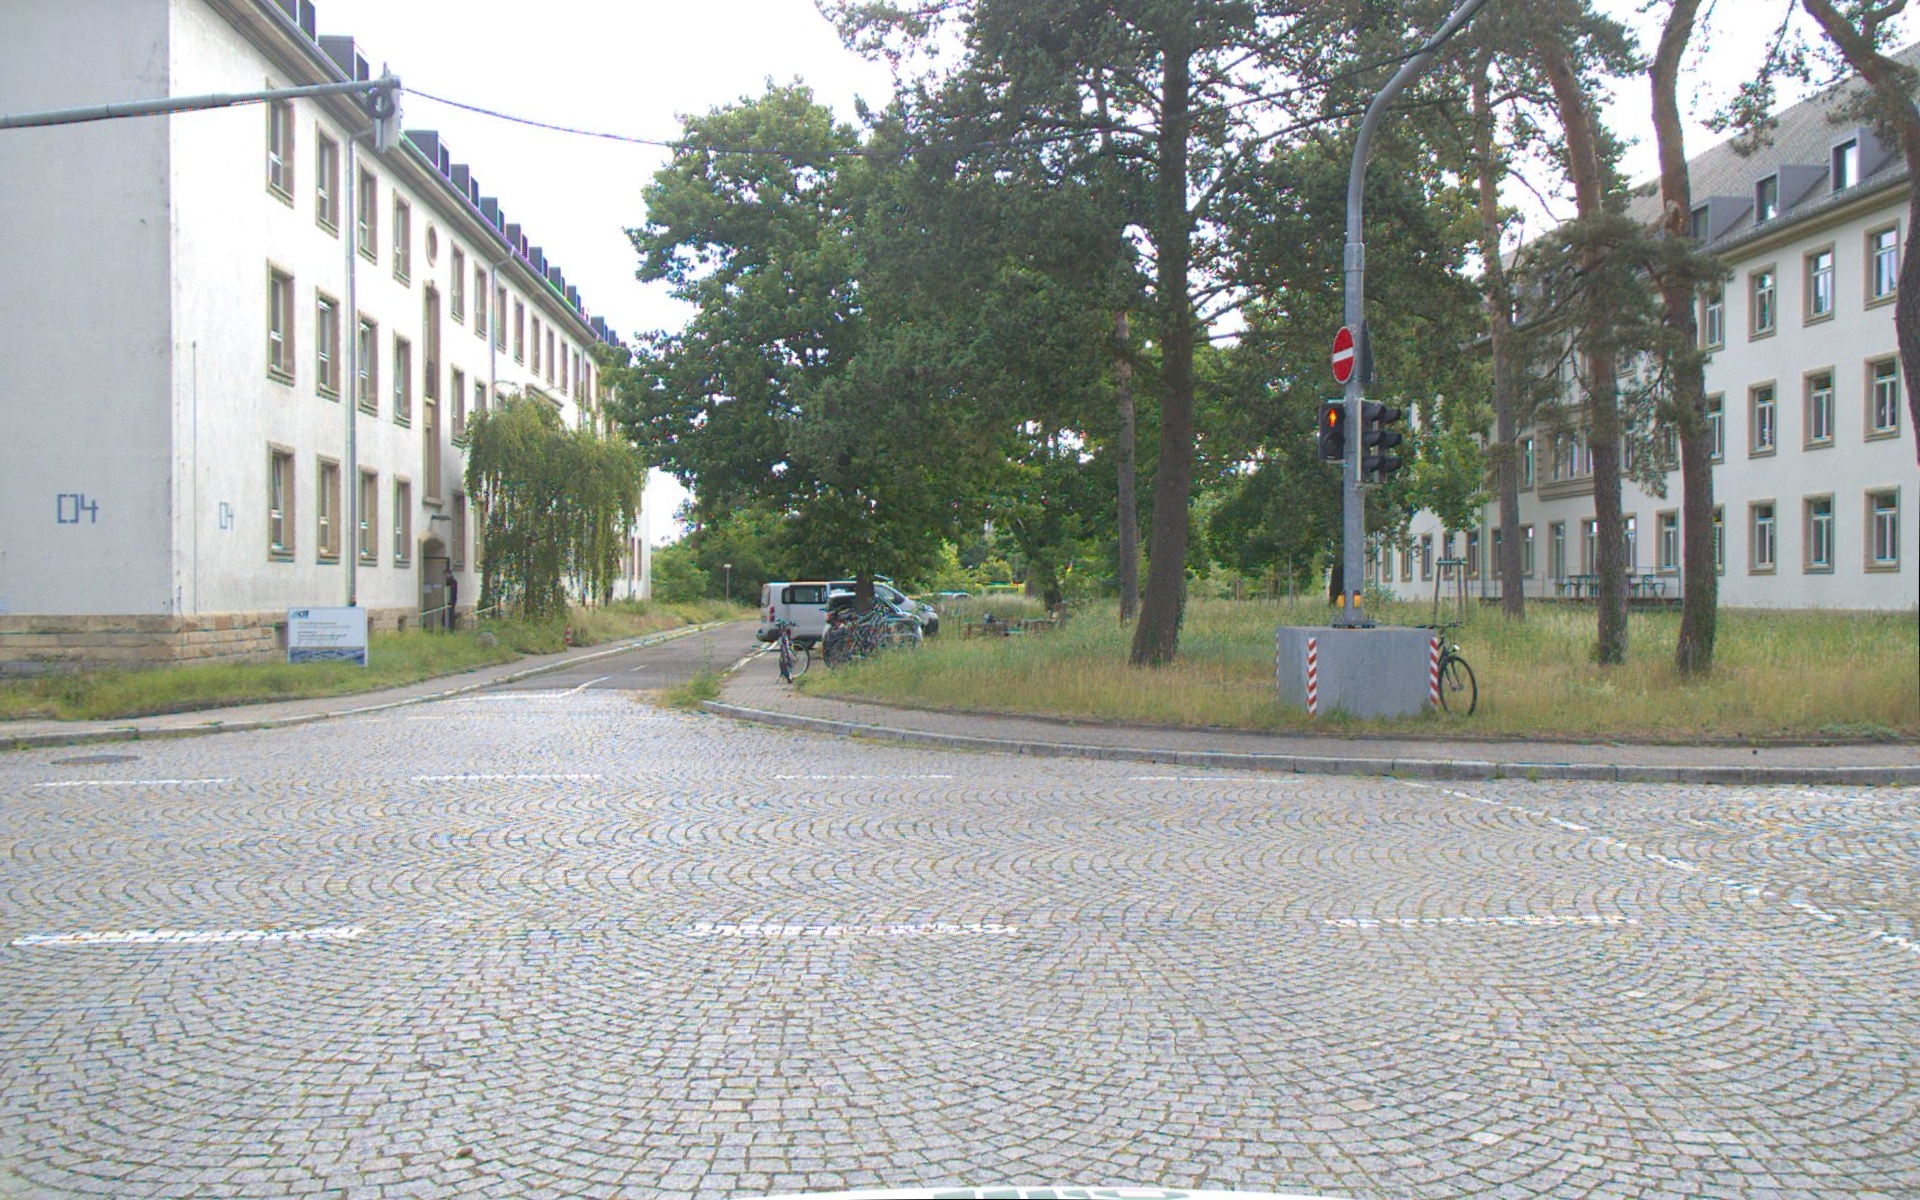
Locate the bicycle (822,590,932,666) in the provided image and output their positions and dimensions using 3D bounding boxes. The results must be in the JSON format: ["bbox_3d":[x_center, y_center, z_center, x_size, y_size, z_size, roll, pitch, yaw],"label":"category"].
[{"bbox_3d":[-1.540,0.517,30.826,2.028,1.402,0.619,0,0,-3],"label":"bicycle"}]

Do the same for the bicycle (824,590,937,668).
[{"bbox_3d":[-1.453,0.517,30.160,2.028,1.402,0.619,0,0,-3],"label":"bicycle"}]

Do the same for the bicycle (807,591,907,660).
[{"bbox_3d":[-2.096,0.513,33.751,2.028,1.402,0.619,0,0,-3],"label":"bicycle"}]

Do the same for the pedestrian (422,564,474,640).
[{"bbox_3d":[-13.866,0.055,44.782,1.064,2.049,1.022,0,0,1],"label":"pedestrian"}]

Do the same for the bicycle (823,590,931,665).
[{"bbox_3d":[-1.583,0.518,31.449,2.028,1.402,0.619,0,0,-3],"label":"bicycle"}]

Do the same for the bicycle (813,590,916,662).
[{"bbox_3d":[-1.900,0.514,33.025,2.028,1.402,0.619,0,0,-3],"label":"bicycle"}]

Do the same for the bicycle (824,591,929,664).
[{"bbox_3d":[-1.627,0.521,32.244,2.028,1.402,0.619,0,0,-3],"label":"bicycle"}]

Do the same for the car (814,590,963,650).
[{"bbox_3d":[-1.971,0.525,44.669,3.859,1.571,1.996,0,0,-9],"label":"car"}]

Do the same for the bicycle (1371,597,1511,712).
[{"bbox_3d":[5.292,0.572,18.326,0.891,1.197,1.872,0,0,-5],"label":"bicycle"}]

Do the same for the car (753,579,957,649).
[{"bbox_3d":[-3.063,0.363,47.970,5.600,1.944,2.220,0,0,-16],"label":"car"}]

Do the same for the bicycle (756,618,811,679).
[{"bbox_3d":[-2.996,0.807,28.256,0.605,0.980,2.077,0,0,3],"label":"bicycle"}]

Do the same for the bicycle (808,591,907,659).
[{"bbox_3d":[-2.131,0.515,34.498,2.028,1.402,0.619,0,0,-3],"label":"bicycle"}]
